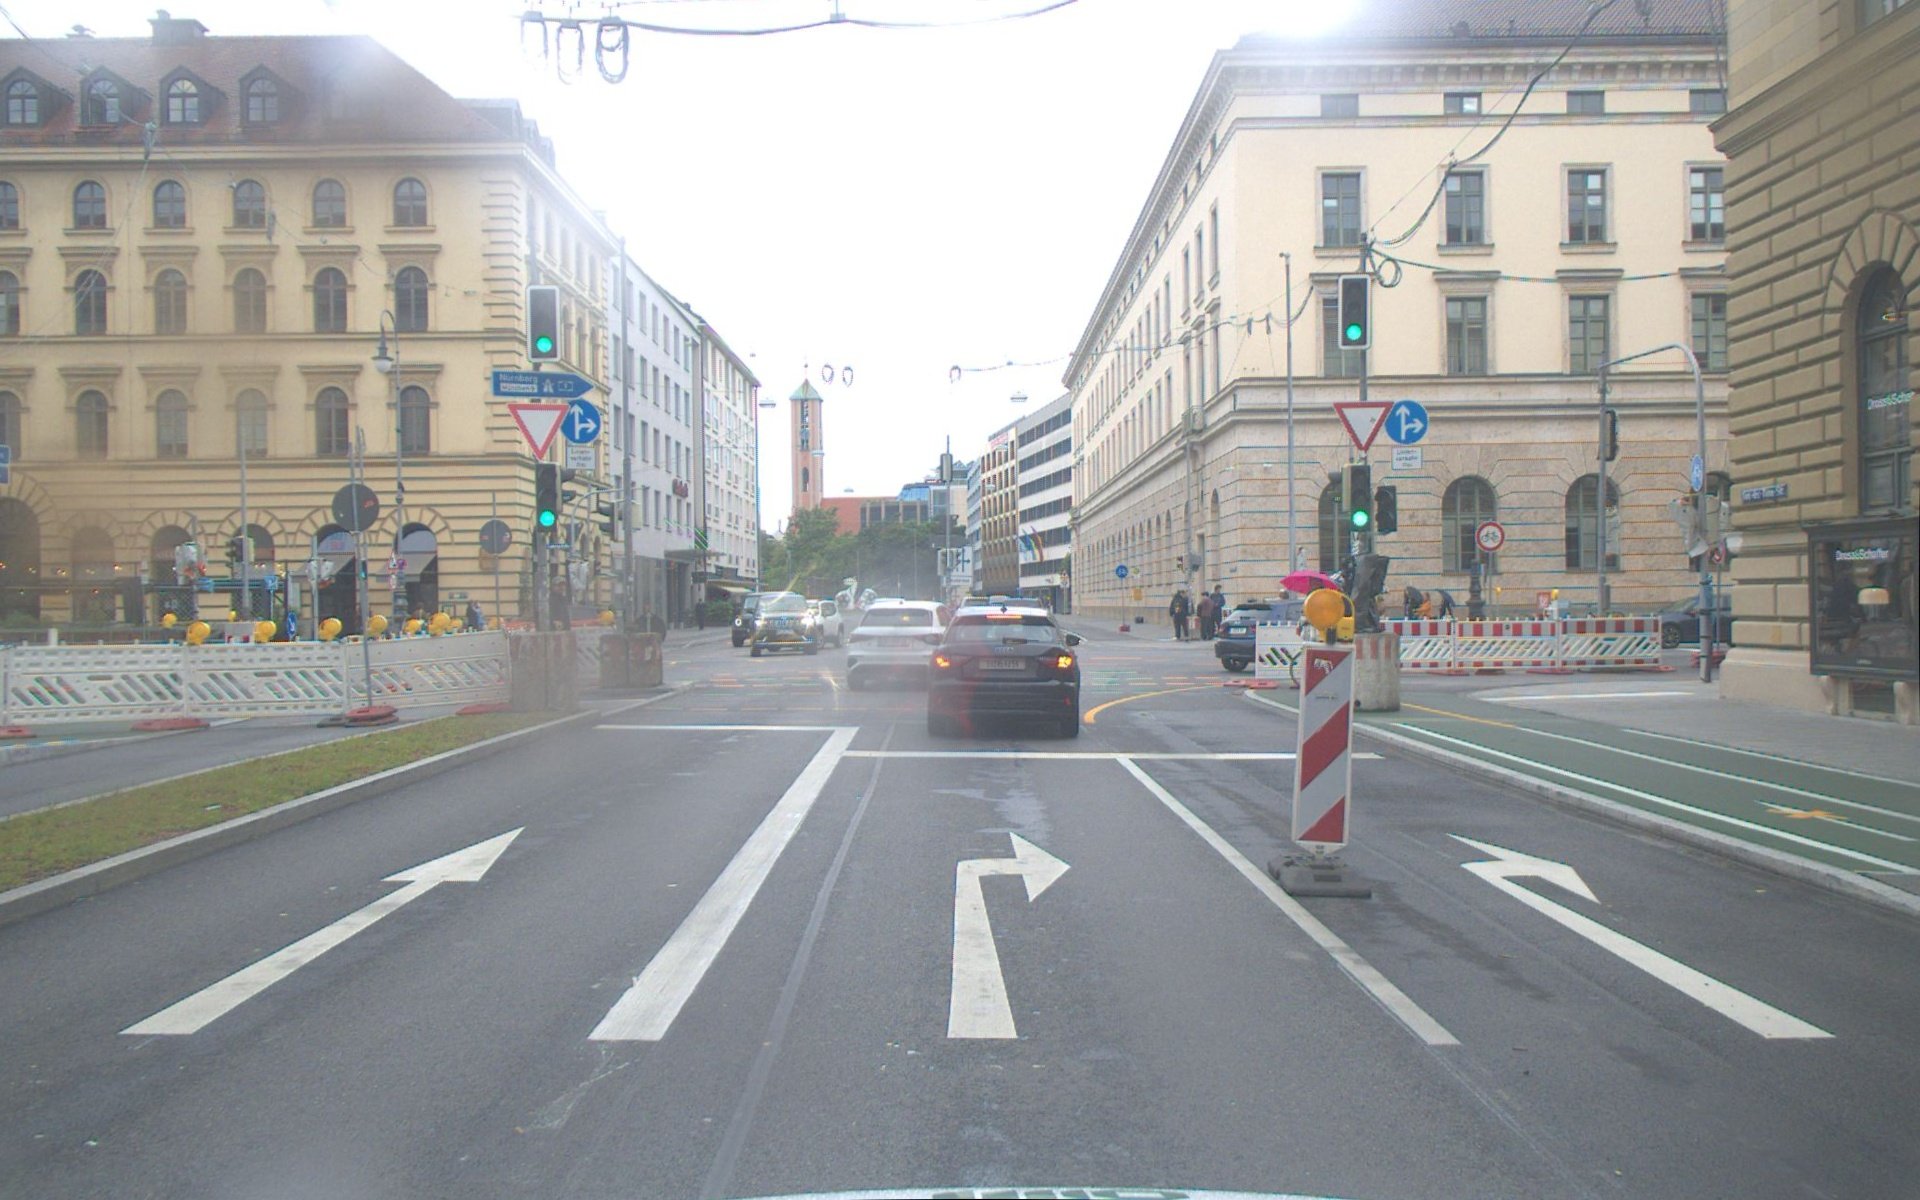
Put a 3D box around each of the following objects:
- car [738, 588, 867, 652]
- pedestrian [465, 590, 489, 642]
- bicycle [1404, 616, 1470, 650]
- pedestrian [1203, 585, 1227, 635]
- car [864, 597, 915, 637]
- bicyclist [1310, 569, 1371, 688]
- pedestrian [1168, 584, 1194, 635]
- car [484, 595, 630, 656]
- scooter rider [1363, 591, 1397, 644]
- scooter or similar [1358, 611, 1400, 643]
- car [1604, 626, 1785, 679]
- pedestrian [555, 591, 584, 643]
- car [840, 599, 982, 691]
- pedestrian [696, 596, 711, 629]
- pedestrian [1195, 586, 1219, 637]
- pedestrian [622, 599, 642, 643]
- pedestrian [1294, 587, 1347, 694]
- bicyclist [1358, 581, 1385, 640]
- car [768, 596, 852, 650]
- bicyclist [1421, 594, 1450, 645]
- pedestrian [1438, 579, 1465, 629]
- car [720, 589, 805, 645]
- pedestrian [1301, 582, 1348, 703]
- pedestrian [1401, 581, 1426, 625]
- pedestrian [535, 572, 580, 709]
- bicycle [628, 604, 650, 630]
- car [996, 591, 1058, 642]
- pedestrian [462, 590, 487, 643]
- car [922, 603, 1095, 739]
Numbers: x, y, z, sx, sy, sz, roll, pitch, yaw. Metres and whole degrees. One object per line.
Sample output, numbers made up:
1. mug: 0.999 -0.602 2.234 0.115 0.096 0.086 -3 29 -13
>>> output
1. car: -4.555 0.558 48.536 1.953 1.765 4.586 -1 0 20
2. pedestrian: -16.824 0.562 57.590 0.720 1.803 0.737 0 0 -11
3. bicycle: 15.275 1.045 53.000 1.917 1.058 0.795 0 0 2
4. pedestrian: 9.138 0.350 59.256 0.573 1.786 0.818 0 0 30
5. car: -2.857 0.665 68.092 1.953 1.550 4.232 -1 0 -1
6. bicyclist: 6.137 0.452 26.653 0.785 1.886 0.564 0 0 42
7. pedestrian: 7.769 0.318 58.164 0.800 1.786 0.680 0 0 16
8. car: -12.212 0.753 50.210 1.793 1.750 3.971 -1 0 45
9. scooter rider: 13.211 0.544 52.030 0.913 1.651 0.592 0 0 1
10. scooter or similar: 13.188 0.854 52.027 1.186 0.982 0.588 0 0 1
11. car: 19.902 1.415 44.917 4.140 1.413 1.749 0 -1 -1
12. pedestrian: -13.831 0.596 58.567 0.718 1.803 0.739 0 0 20
13. car: -0.754 0.720 28.747 1.774 1.449 4.455 1 0 7
14. pedestrian: -14.371 0.701 92.793 0.722 1.803 0.736 0 0 -1
15. pedestrian: 8.747 0.402 58.518 0.573 1.786 0.818 0 0 30
16. pedestrian: -13.836 0.883 69.777 0.722 1.803 0.736 0 0 -1
17. pedestrian: 5.437 0.604 24.980 0.688 1.594 0.541 0 0 2
18. bicyclist: 13.151 0.336 52.902 0.728 1.874 0.661 0 0 2
19. car: -5.011 0.739 55.729 1.755 1.707 4.237 -1 0 9
20. bicyclist: 15.236 0.619 53.002 0.728 1.643 0.795 0 0 2
21. pedestrian: 17.239 0.137 57.995 0.700 1.723 0.820 0 0 1
22. car: -7.492 0.617 63.201 2.190 2.049 4.453 -1 0 7
23. pedestrian: 5.047 0.580 22.931 0.520 1.648 0.674 0 0 2
24. pedestrian: 16.029 0.107 58.484 0.651 1.554 0.820 0 0 -2
25. pedestrian: -5.362 0.526 22.074 0.503 1.773 1.041 -1 0 -10
26. bicycle: -15.504 0.823 79.899 0.585 1.264 2.199 0 0 2
27. car: 2.209 0.527 55.137 1.827 1.629 3.850 -1 0 -1
28. pedestrian: -16.685 0.573 56.852 0.720 1.803 0.737 0 0 -11
29. car: 0.491 0.754 19.472 1.825 1.412 3.999 0 0 -1
